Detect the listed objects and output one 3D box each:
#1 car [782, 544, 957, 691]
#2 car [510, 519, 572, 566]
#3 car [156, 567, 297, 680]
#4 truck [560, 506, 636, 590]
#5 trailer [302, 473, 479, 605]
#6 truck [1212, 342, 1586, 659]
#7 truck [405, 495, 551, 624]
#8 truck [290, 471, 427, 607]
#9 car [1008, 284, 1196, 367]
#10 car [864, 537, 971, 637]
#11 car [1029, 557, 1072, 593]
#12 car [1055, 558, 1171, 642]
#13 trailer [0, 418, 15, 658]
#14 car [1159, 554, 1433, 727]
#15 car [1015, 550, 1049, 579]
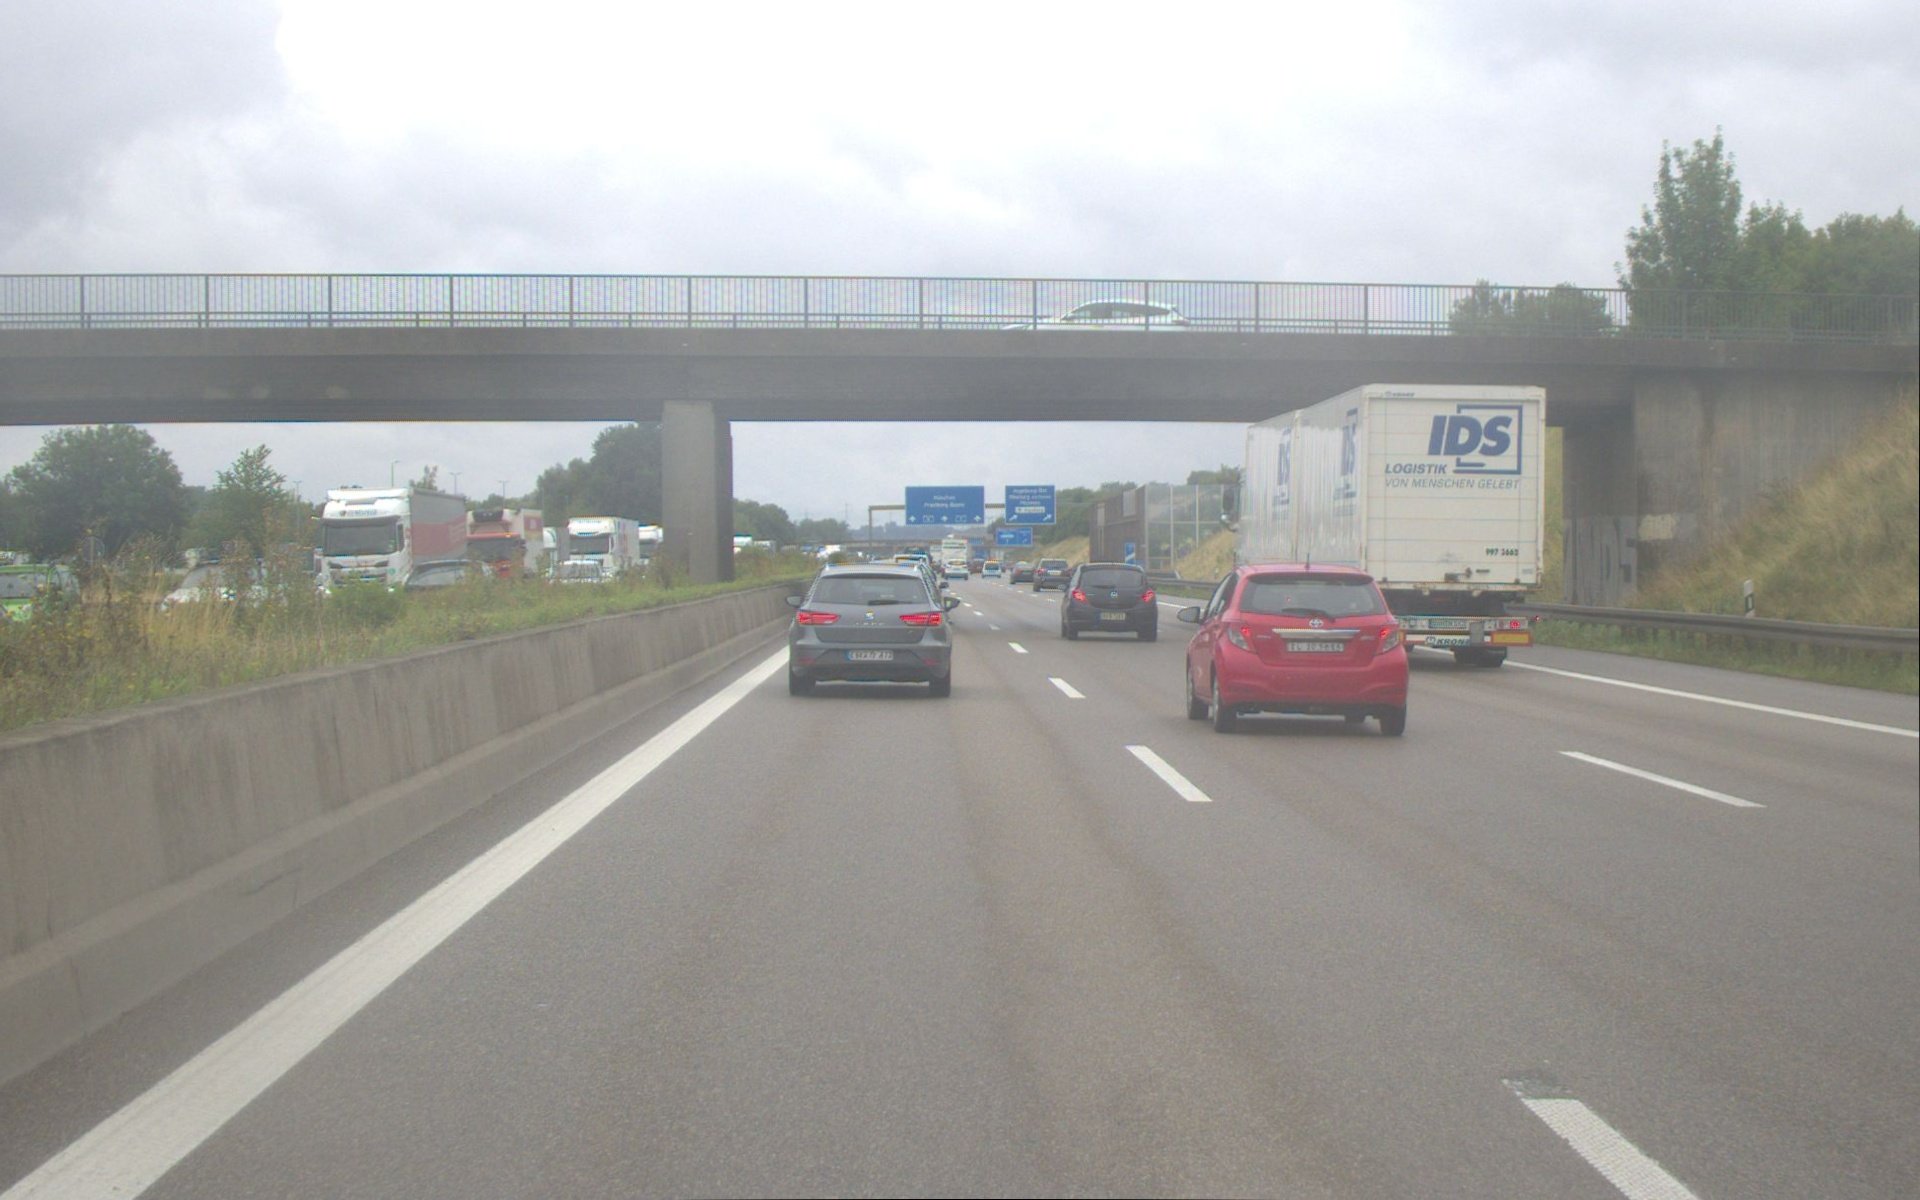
[{"bbox_3d":[-0.977,0.174,37.530,1.768,1.462,4.000,2,0,-1],"label":"car"},{"bbox_3d":[-19.116,-2.613,156.938,2.156,2.007,5.238,2,0,0],"label":"car"},{"bbox_3d":[-13.738,0.414,64.570,1.785,2.007,4.000,-1,1,-1],"label":"car"},{"bbox_3d":[-19.267,-2.723,183.340,2.977,4.304,9.669,2,0,0],"label":"truck"},{"bbox_3d":[-18.662,-1.923,113.875,3.323,3.965,15.745,2,0,-1],"label":"trailer"},{"bbox_3d":[6.753,-1.409,56.908,3.283,4.280,19.034,2,0,-1],"label":"truck"},{"bbox_3d":[-19.753,-1.625,142.044,4.033,4.927,14.434,2,0,-1],"label":"truck"},{"bbox_3d":[-18.570,-1.848,106.452,3.272,4.031,5.293,2,0,-1],"label":"truck"},{"bbox_3d":[3.312,-6.394,80.303,3.986,1.612,1.880,2,0,-13],"label":"car"},{"bbox_3d":[-0.829,-0.278,67.243,1.993,1.854,4.000,-1,1,-1],"label":"car"},{"bbox_3d":[4.419,-1.212,168.988,1.845,1.681,4.000,2,0,-2],"label":"car"},{"bbox_3d":[2.870,-0.026,65.545,1.921,1.516,4.622,1,1,-1],"label":"car"},{"bbox_3d":[-17.421,-1.049,51.194,2.757,4.036,14.519,2,0,-1],"label":"trailer"},{"bbox_3d":[2.985,0.315,31.496,1.891,1.442,4.685,1,1,-2],"label":"car"},{"bbox_3d":[4.550,-2.257,218.694,1.993,1.806,4.228,-1,1,-1],"label":"car"}]
